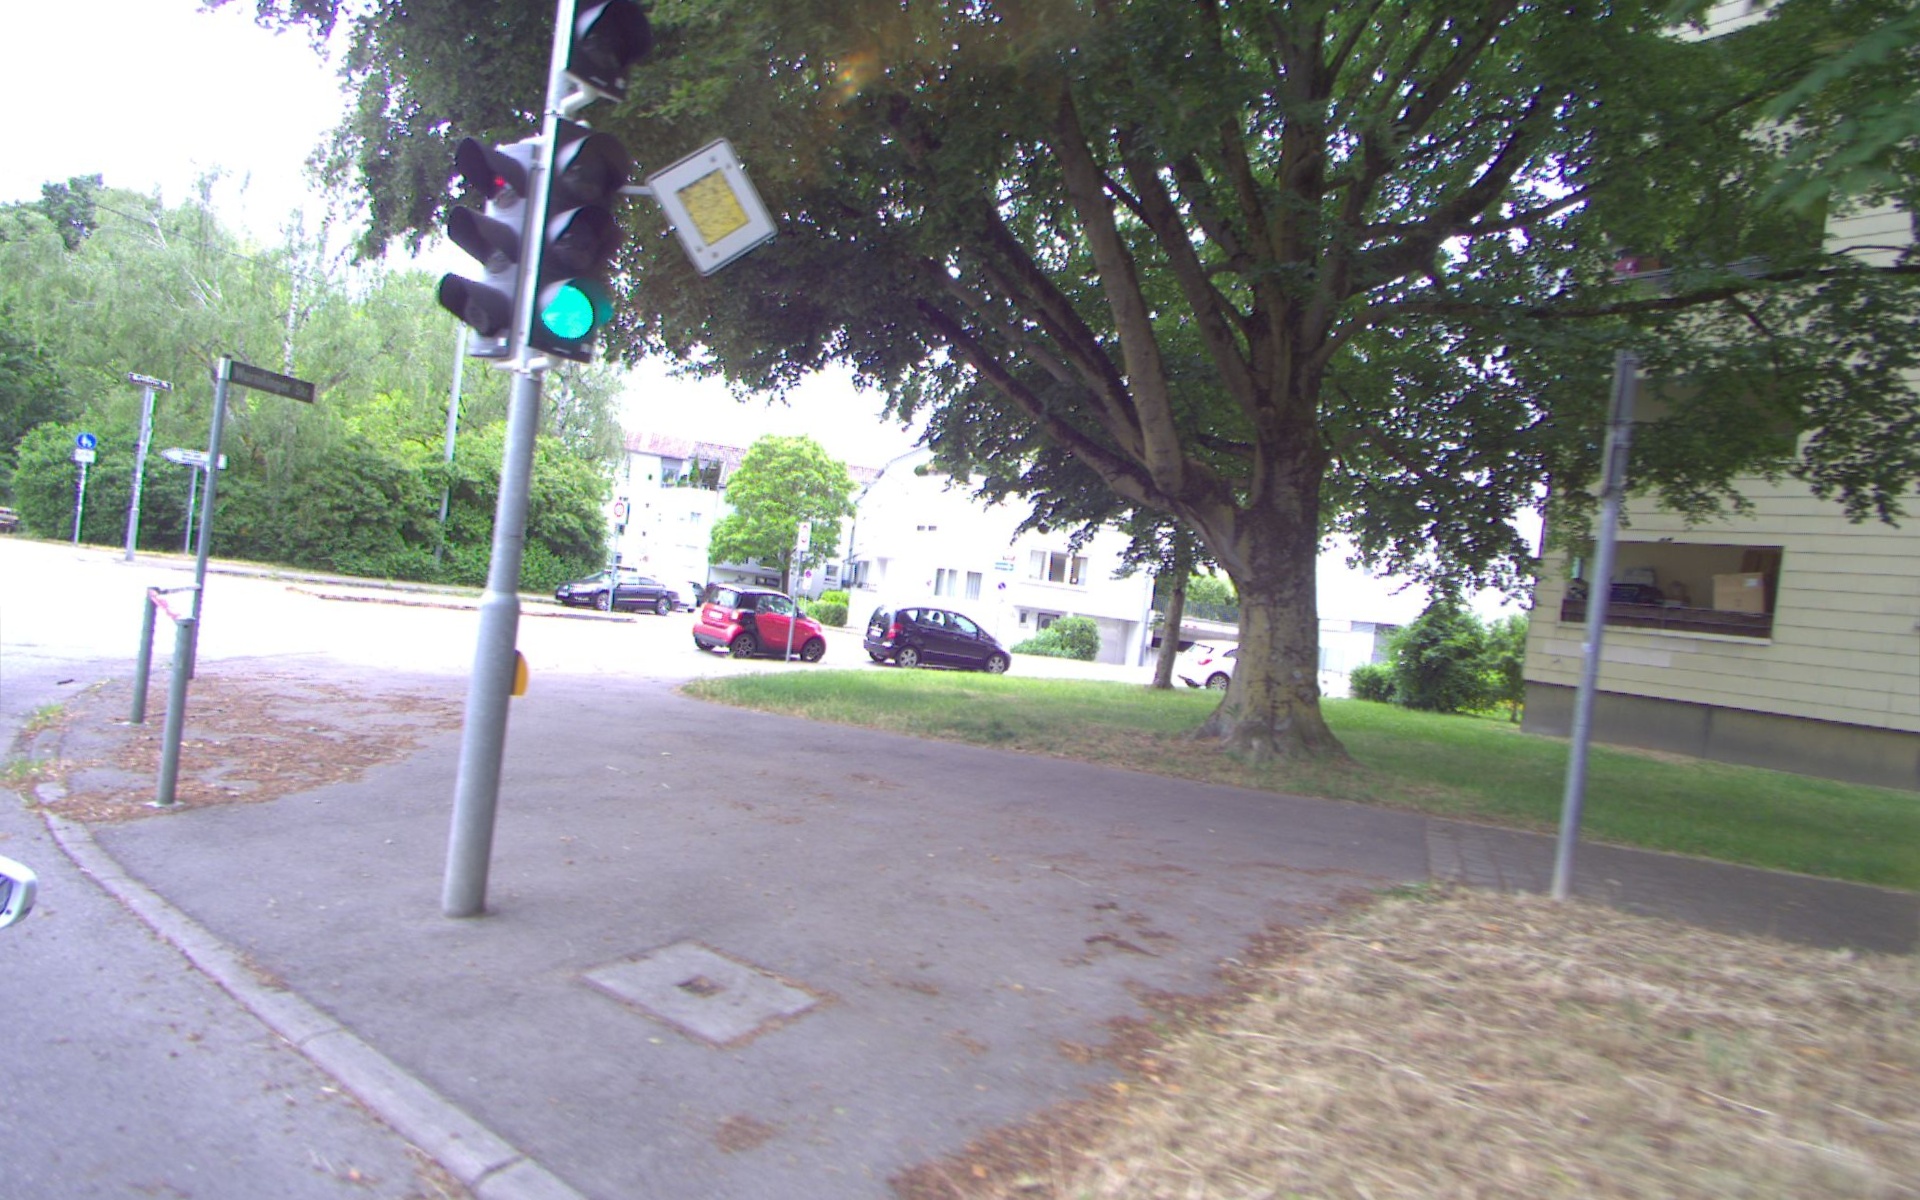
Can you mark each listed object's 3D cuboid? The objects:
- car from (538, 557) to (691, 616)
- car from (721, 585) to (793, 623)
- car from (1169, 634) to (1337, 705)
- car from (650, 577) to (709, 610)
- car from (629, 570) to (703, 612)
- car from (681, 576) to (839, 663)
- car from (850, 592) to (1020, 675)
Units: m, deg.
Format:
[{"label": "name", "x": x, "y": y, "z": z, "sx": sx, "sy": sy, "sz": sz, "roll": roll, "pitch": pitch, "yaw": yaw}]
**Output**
[{"label": "car", "x": -11.858, "y": -0.414, "z": 34.868, "sx": 2.005, "sy": 1.456, "sz": 4.792, "roll": 7, "pitch": -1, "yaw": 31}, {"label": "car", "x": -10.333, "y": 0.185, "z": 50.962, "sx": 1.918, "sy": 1.563, "sz": 4.024, "roll": 7, "pitch": -1, "yaw": -36}, {"label": "car", "x": 8.133, "y": 1.917, "z": 28.064, "sx": 4.002, "sy": 1.452, "sz": 1.792, "roll": 6, "pitch": 1, "yaw": -10}, {"label": "car", "x": -16.564, "y": -0.389, "z": 59.326, "sx": 1.918, "sy": 1.563, "sz": 4.024, "roll": 7, "pitch": -1, "yaw": -36}, {"label": "car", "x": -12.821, "y": -0.403, "z": 43.762, "sx": 1.793, "sy": 1.505, "sz": 3.632, "roll": 7, "pitch": -1, "yaw": -38}, {"label": "car", "x": -4.435, "y": 0.465, "z": 22.534, "sx": 1.672, "sy": 1.524, "sz": 2.908, "roll": 8, "pitch": 0, "yaw": 41}, {"label": "car", "x": -0.622, "y": 0.852, "z": 25.462, "sx": 3.783, "sy": 1.610, "sz": 1.806, "roll": 8, "pitch": -1, "yaw": -28}]
